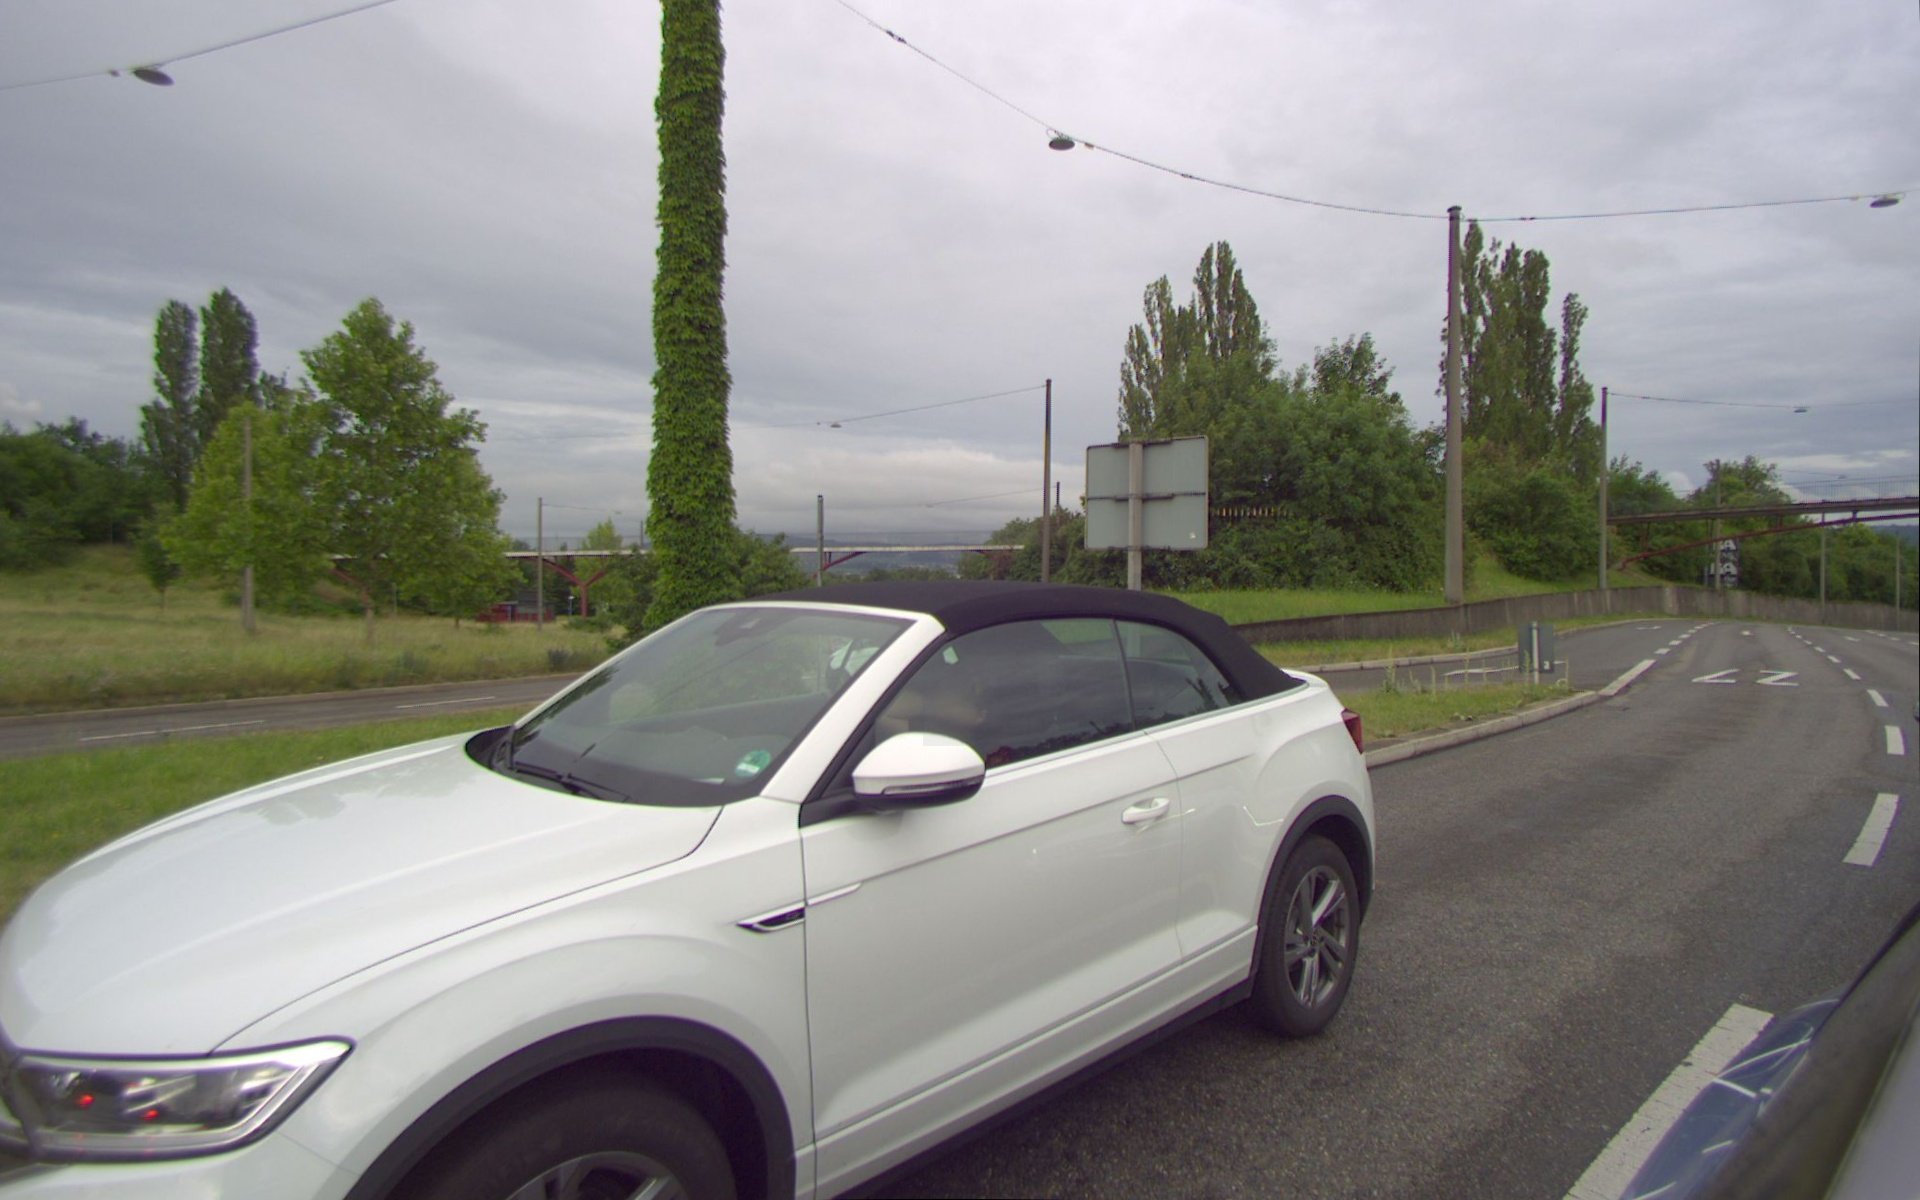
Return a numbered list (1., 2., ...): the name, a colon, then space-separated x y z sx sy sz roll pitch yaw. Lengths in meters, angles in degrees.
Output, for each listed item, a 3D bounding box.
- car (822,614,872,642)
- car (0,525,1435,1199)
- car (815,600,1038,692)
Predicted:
1. car: -6.182 1.520 55.719 1.659 1.438 4.068 -1 -1 11
2. car: -0.255 0.670 3.043 4.160 1.572 1.714 -1 1 -44
3. car: -0.827 1.027 22.702 4.791 1.872 1.974 -3 -2 35
